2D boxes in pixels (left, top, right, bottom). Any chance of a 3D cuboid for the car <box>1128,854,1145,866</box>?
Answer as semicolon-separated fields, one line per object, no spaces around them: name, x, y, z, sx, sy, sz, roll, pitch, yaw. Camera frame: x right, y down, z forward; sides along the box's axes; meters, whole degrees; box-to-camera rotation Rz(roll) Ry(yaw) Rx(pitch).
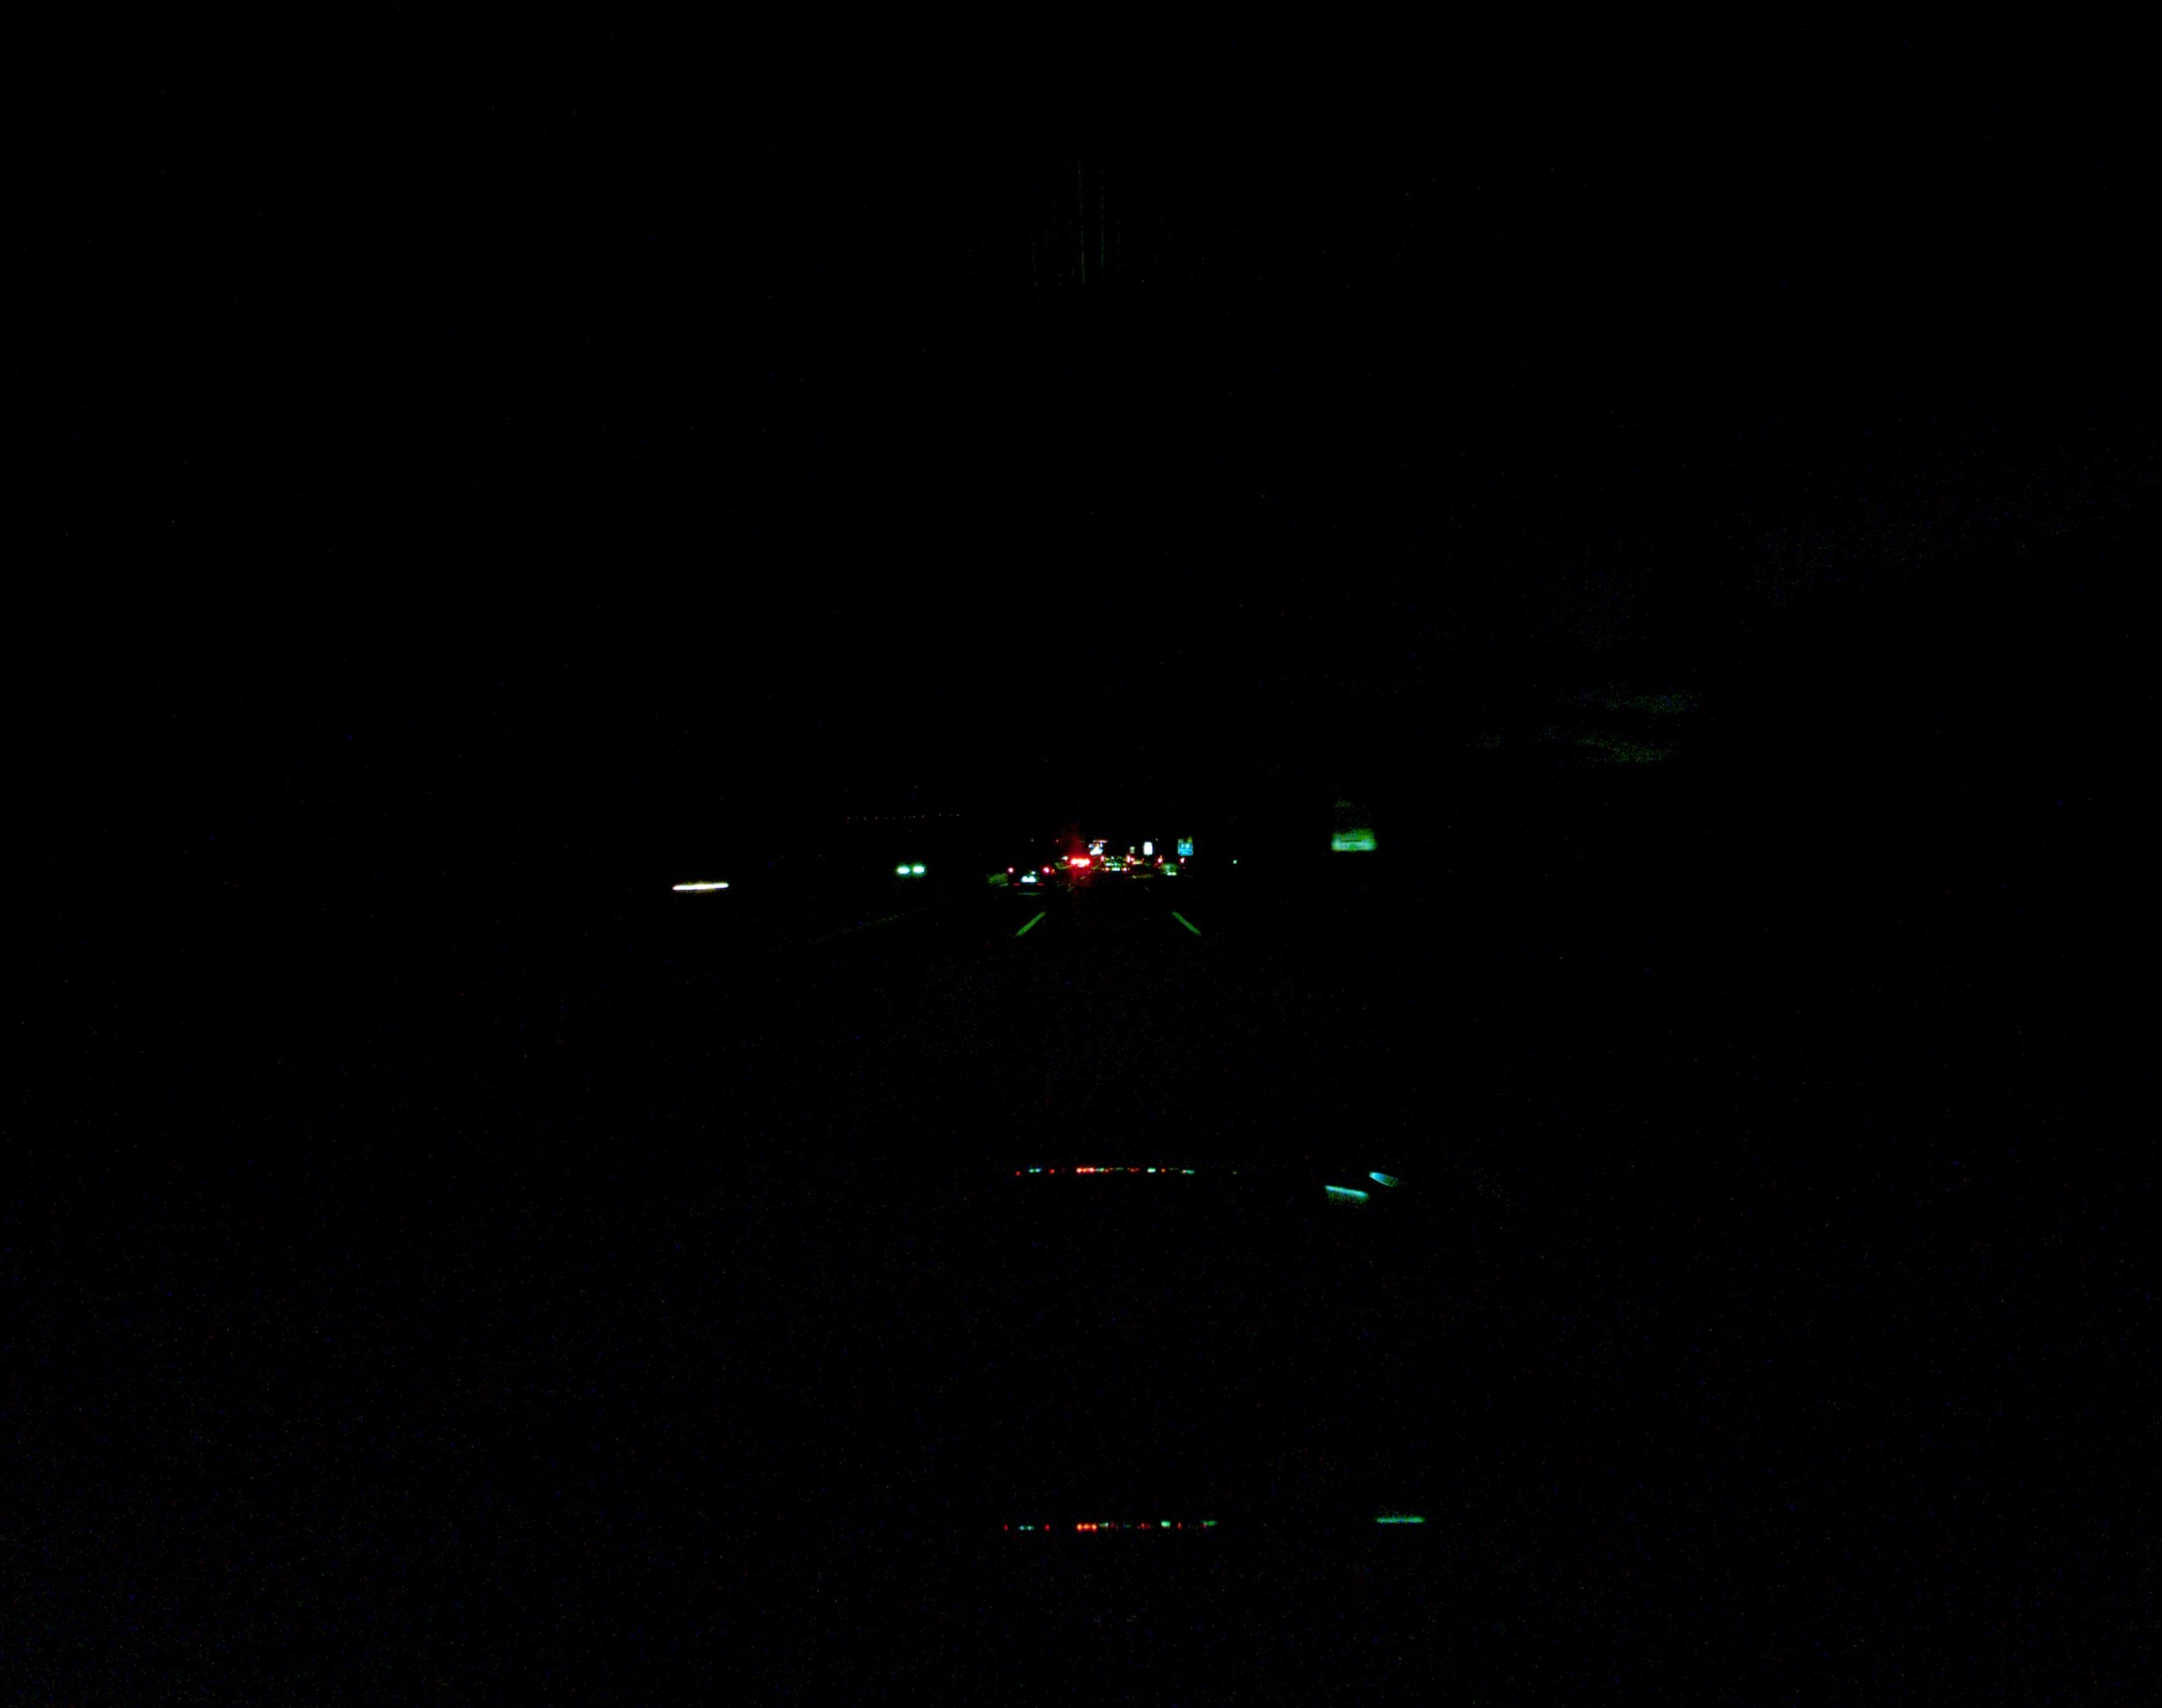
car;7.303;0.747;107.475;2.154;1.563;4.725;-1;0;2

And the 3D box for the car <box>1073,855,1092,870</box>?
car;0.168;0.855;81.619;1.738;1.440;4.370;-1;0;2

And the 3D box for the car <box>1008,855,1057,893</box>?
car;-1.971;0.786;34.252;1.788;1.469;3.773;0;0;0

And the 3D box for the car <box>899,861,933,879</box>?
car;-16.177;1.557;80.101;1.956;1.538;5.188;-2;0;2

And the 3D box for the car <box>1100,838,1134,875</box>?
car;2.604;0.158;59.039;2.342;2.535;5.704;-1;0;2

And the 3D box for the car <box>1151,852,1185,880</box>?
car;5.197;0.691;49.002;1.640;1.597;4.511;0;0;1

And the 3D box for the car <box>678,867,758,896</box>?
car;-18.169;1.348;41.011;1.896;1.282;4.352;-2;0;2
